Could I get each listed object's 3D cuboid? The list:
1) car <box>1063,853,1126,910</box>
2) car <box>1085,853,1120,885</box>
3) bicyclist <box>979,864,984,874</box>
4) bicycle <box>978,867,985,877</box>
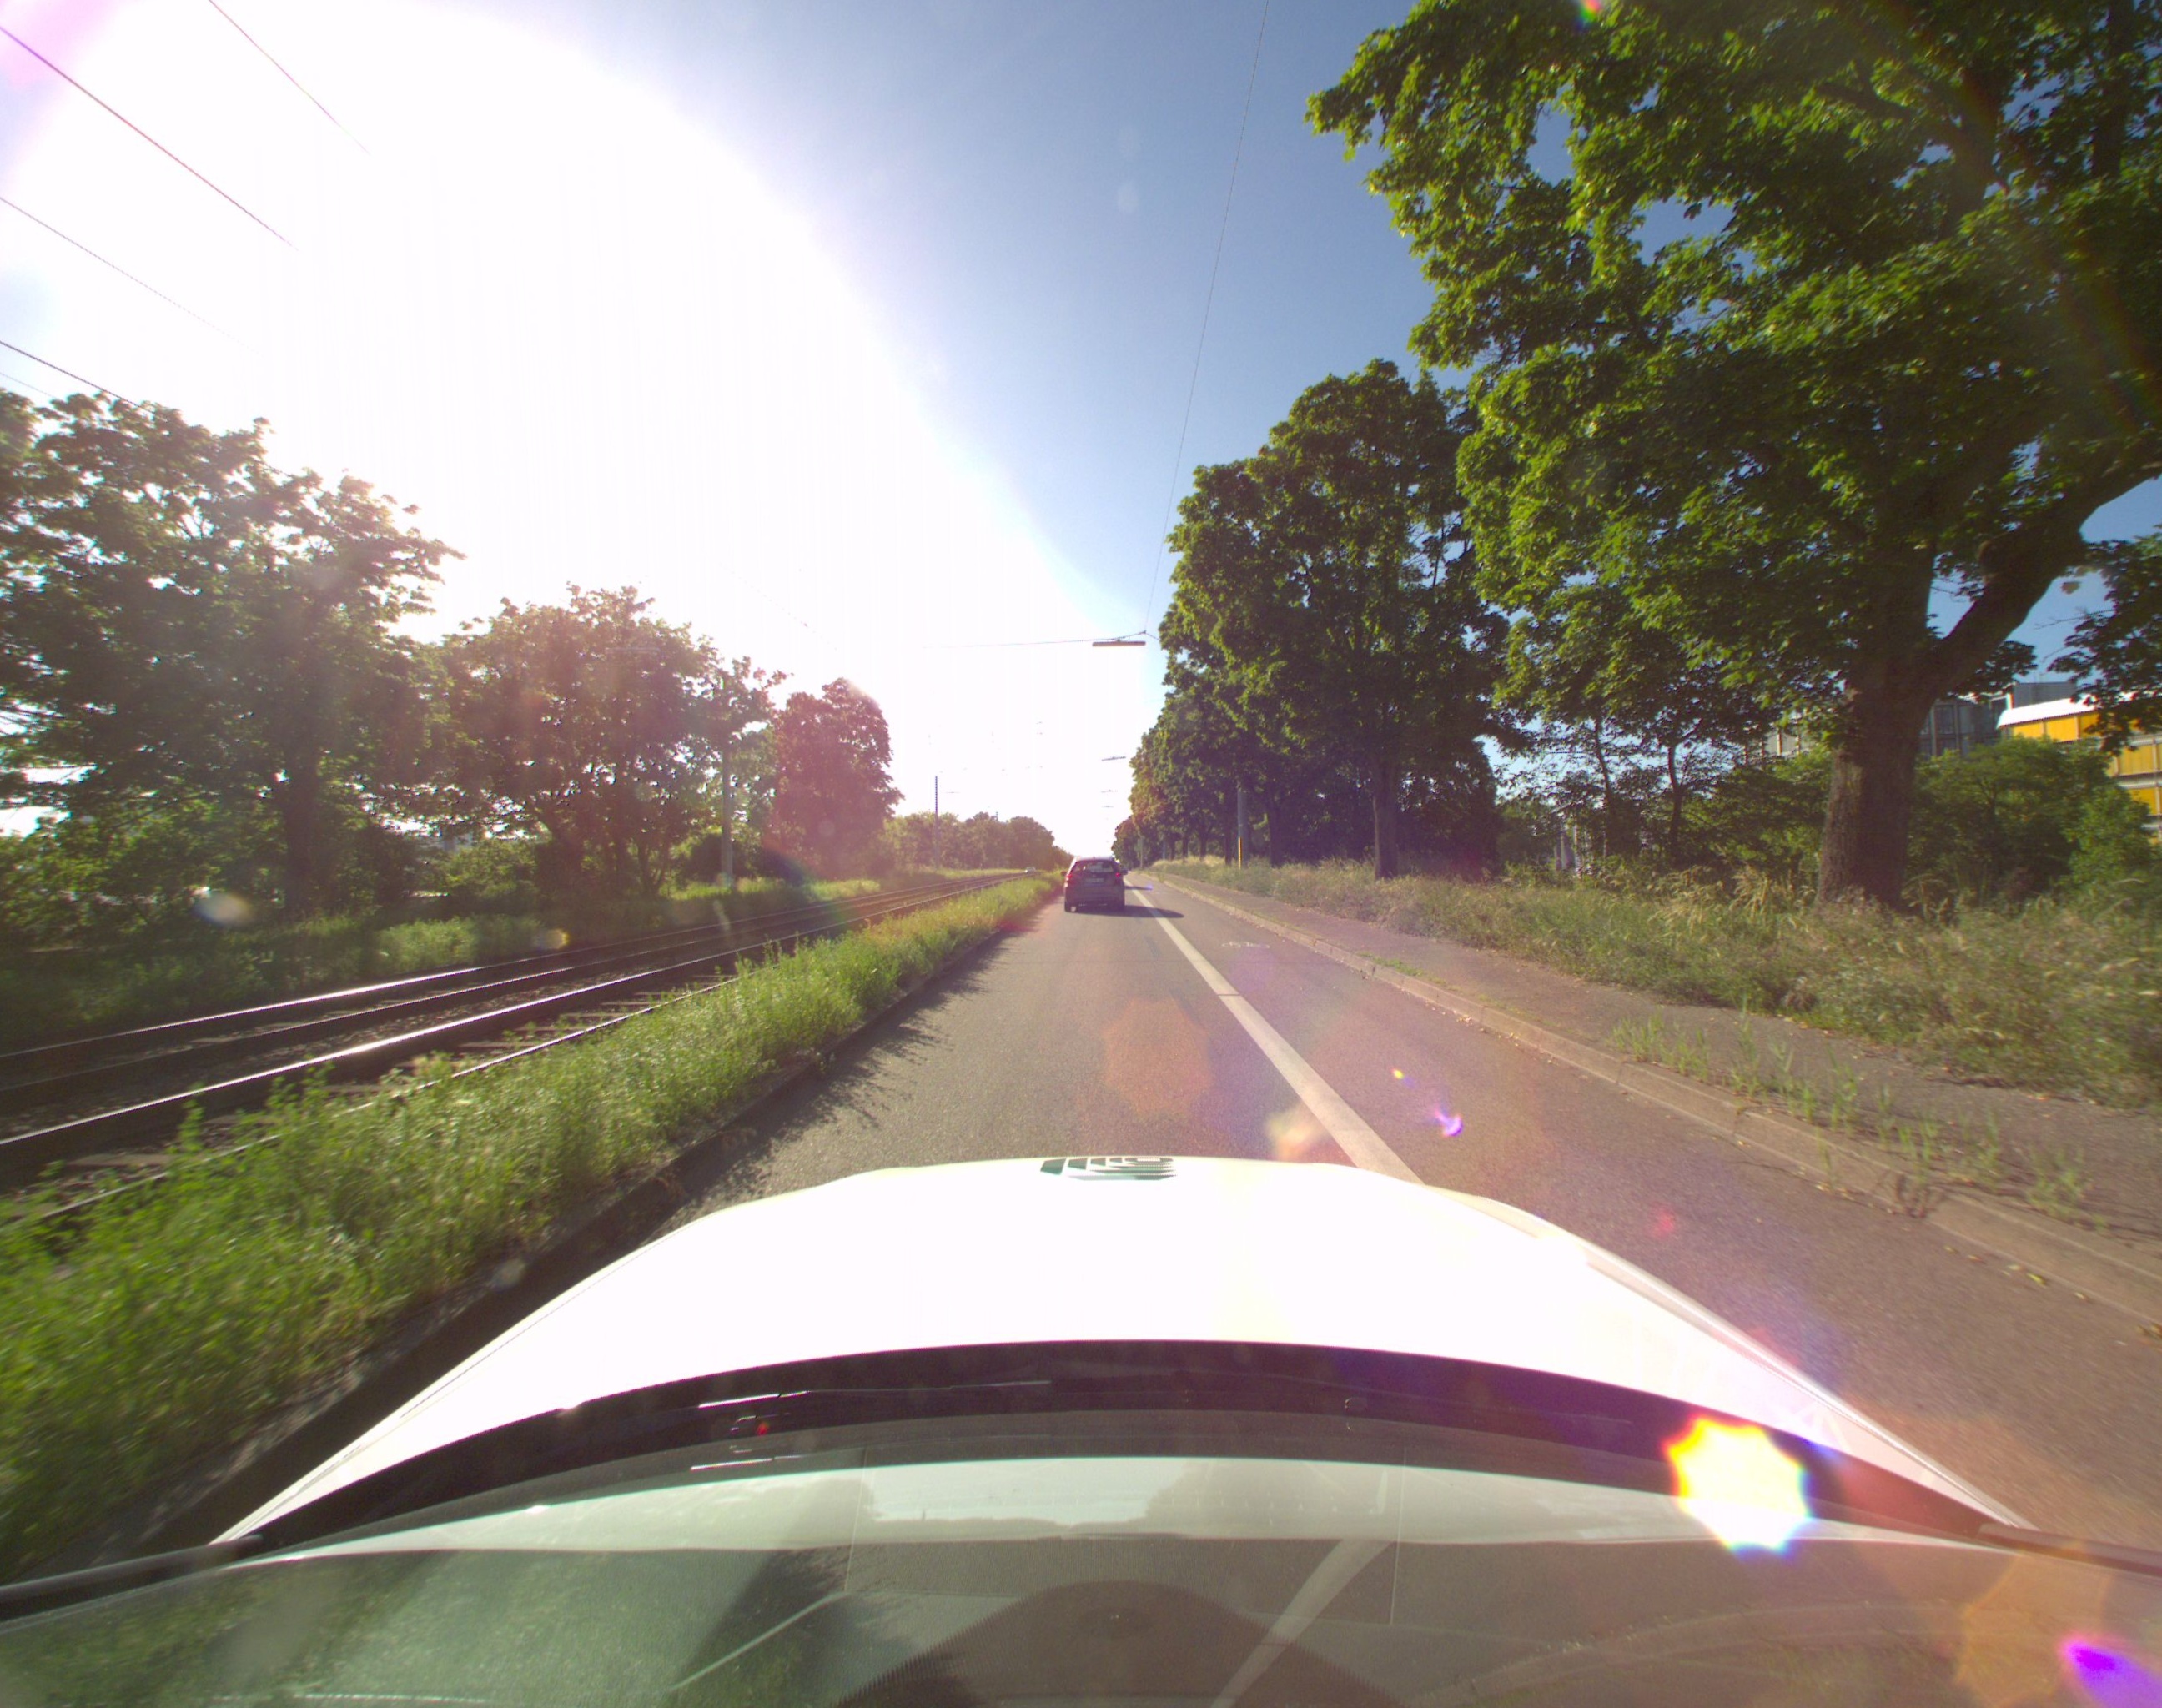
[{"bbox_3d":[0.382,0.742,23.622,1.664,1.507,3.811,0,0,0],"label":"car"},{"bbox_3d":[1.091,0.726,40.672,1.648,1.507,3.813,0,0,2],"label":"car"},{"bbox_3d":[-13.272,2.027,108.619,0.580,1.310,0.988,0,0,2],"label":"bicyclist"},{"bbox_3d":[-13.283,2.385,108.520,0.587,1.261,2.428,0,0,2],"label":"bicycle"}]
